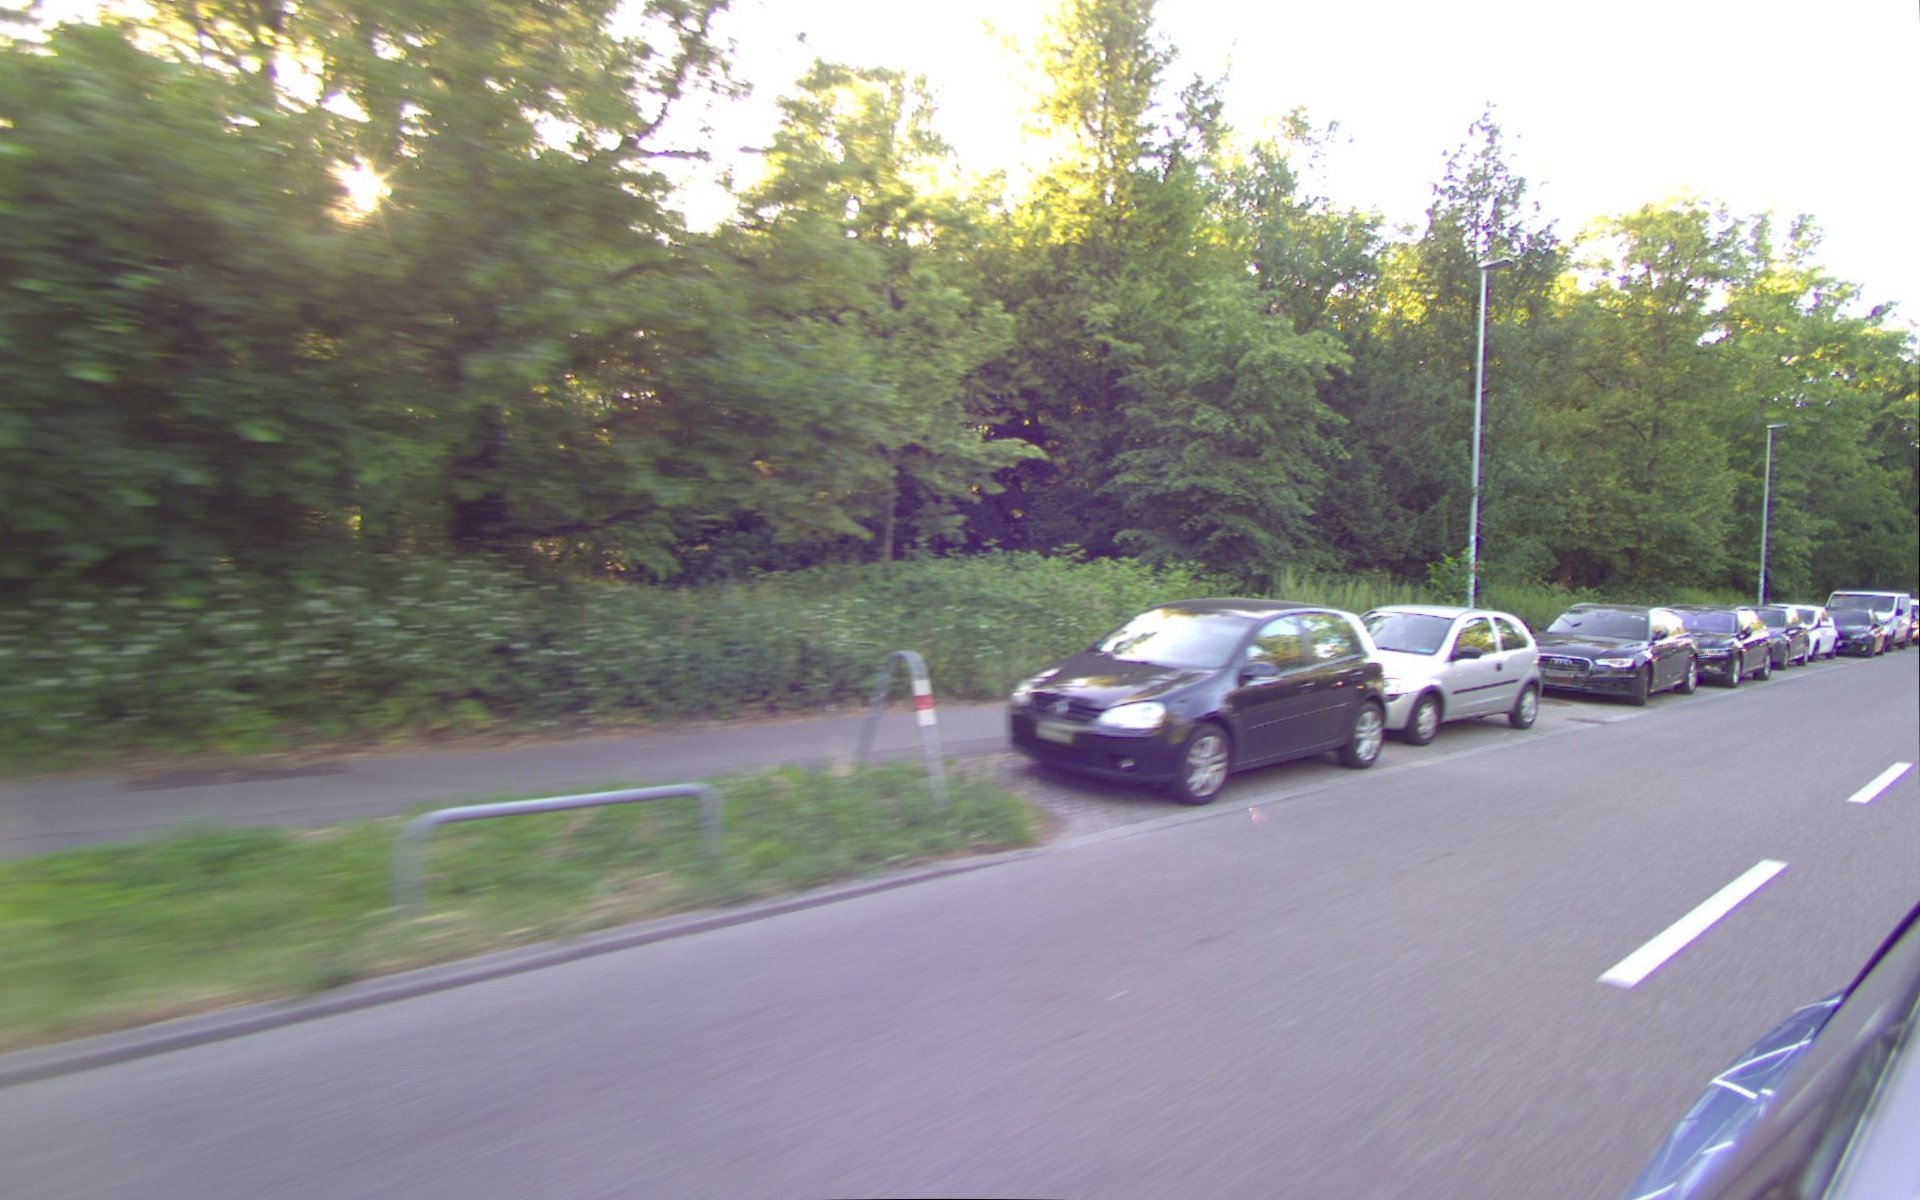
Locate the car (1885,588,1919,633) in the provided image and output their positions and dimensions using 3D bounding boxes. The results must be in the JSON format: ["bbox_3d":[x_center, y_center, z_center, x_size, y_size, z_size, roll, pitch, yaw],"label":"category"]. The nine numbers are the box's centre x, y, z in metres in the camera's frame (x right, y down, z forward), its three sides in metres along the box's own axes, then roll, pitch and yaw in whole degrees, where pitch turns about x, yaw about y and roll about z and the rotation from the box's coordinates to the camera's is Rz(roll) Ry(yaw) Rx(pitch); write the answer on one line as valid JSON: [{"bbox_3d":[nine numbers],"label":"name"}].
[{"bbox_3d":[41.020,0.430,43.210,4.657,1.826,1.762,-1,3,-42],"label":"car"}]

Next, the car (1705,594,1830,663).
[{"bbox_3d":[19.524,0.623,24.412,3.873,1.471,1.589,0,3,-40],"label":"car"}]

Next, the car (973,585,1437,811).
[{"bbox_3d":[2.331,0.649,8.992,4.310,1.471,1.778,0,3,-40],"label":"car"}]

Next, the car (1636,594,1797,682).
[{"bbox_3d":[15.110,0.655,20.113,4.814,1.471,1.640,-1,3,-42],"label":"car"}]

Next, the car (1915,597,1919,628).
[{"bbox_3d":[48.569,0.644,49.987,3.123,1.513,1.590,0,3,-40],"label":"car"}]

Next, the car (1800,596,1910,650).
[{"bbox_3d":[27.144,0.642,30.653,4.292,1.423,1.873,0,3,-41],"label":"car"}]

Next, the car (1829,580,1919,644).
[{"bbox_3d":[31.838,0.356,34.968,5.378,2.005,1.873,0,3,-41],"label":"car"}]

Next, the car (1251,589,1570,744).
[{"bbox_3d":[5.421,0.651,12.011,3.940,1.471,1.780,0,3,-38],"label":"car"}]

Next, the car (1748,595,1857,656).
[{"bbox_3d":[23.108,0.638,27.713,3.730,1.471,1.590,0,3,-40],"label":"car"}]

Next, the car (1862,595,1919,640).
[{"bbox_3d":[36.428,0.628,39.096,4.351,1.566,1.763,0,3,-41],"label":"car"}]

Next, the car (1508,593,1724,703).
[{"bbox_3d":[11.014,0.678,16.830,4.952,1.471,1.777,-1,3,-42],"label":"car"}]
